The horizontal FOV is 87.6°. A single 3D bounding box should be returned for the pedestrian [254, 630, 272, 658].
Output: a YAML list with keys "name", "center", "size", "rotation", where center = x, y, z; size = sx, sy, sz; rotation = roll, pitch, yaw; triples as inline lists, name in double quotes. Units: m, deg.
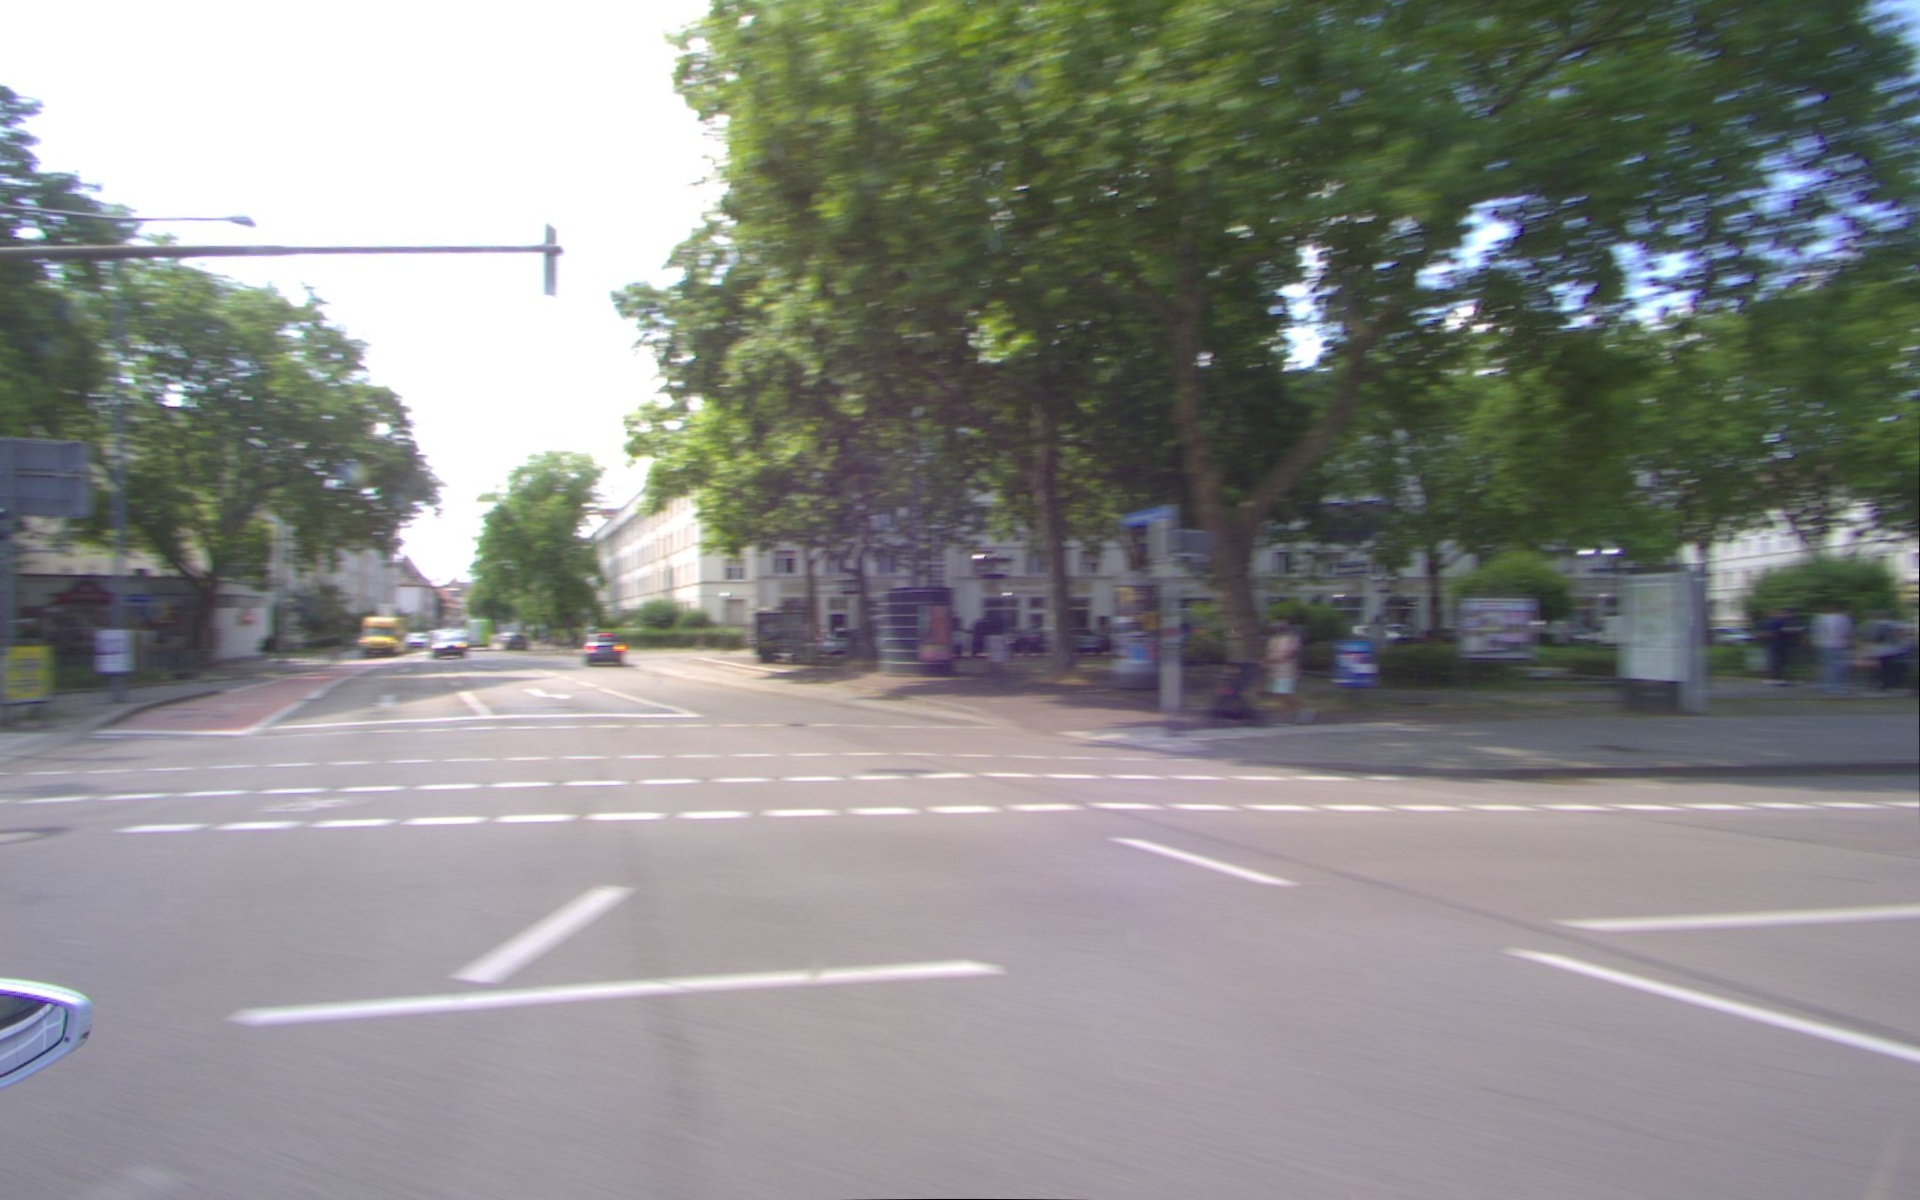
- name: "pedestrian"
  center: [-38.205, 2.422, 54.911]
  size: [0.660, 1.498, 0.574]
  rotation: [1, 0, -21]

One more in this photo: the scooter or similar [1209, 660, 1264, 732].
- name: "scooter or similar"
  center: [4.257, 1.465, 15.443]
  size: [0.695, 1.070, 0.491]
  rotation: [0, 0, -3]

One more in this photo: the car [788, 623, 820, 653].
- name: "car"
  center: [-9.792, 2.350, 63.048]
  size: [1.875, 1.819, 4.720]
  rotation: [0, -1, -7]

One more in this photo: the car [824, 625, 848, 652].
- name: "car"
  center: [-7.887, 2.429, 63.472]
  size: [1.442, 1.687, 3.066]
  rotation: [0, -1, -9]

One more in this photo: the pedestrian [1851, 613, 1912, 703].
- name: "pedestrian"
  center: [18.262, 1.134, 19.850]
  size: [0.709, 1.745, 0.689]
  rotation: [0, 0, -29]

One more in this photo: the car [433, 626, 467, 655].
- name: "car"
  center: [-31.395, 2.449, 61.591]
  size: [1.766, 1.683, 4.295]
  rotation: [0, 0, -28]

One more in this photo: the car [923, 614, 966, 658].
- name: "car"
  center: [-0.857, 1.854, 52.506]
  size: [1.961, 2.211, 4.257]
  rotation: [0, -1, -4]

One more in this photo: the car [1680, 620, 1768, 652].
- name: "car"
  center: [43.223, 1.997, 56.748]
  size: [1.819, 1.702, 4.000]
  rotation: [0, -1, -3]

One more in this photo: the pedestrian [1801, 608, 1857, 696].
- name: "pedestrian"
  center: [18.008, 1.054, 20.750]
  size: [0.660, 1.787, 0.689]
  rotation: [0, 0, -29]

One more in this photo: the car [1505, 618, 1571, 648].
- name: "car"
  center: [38.888, 2.184, 67.451]
  size: [1.961, 1.989, 4.000]
  rotation: [0, -1, -3]

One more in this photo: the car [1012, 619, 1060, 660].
- name: "car"
  center: [3.982, 2.058, 53.273]
  size: [1.961, 2.103, 4.000]
  rotation: [0, -1, -4]

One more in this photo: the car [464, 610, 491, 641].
- name: "car"
  center: [-42.398, 2.195, 88.040]
  size: [2.093, 2.676, 6.302]
  rotation: [0, 0, -26]

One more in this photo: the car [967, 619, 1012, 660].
- name: "car"
  center: [1.528, 2.072, 53.425]
  size: [1.961, 2.103, 4.000]
  rotation: [0, -1, -4]

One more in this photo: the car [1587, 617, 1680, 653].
- name: "car"
  center: [37.928, 1.940, 56.563]
  size: [2.063, 1.930, 4.491]
  rotation: [0, -1, -3]

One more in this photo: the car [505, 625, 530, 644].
- name: "car"
  center: [-36.703, 2.844, 82.988]
  size: [1.705, 1.575, 3.617]
  rotation: [0, -1, -28]

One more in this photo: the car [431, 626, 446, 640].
- name: "car"
  center: [-69.051, 4.349, 132.685]
  size: [1.639, 1.683, 3.735]
  rotation: [0, 0, -25]

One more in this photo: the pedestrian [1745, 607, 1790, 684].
- name: "pedestrian"
  center: [18.973, 1.063, 23.519]
  size: [0.688, 1.773, 0.603]
  rotation: [0, 0, -28]

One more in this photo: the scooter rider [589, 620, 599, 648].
- name: "scooter rider"
  center: [-24.010, 2.250, 65.772]
  size: [0.520, 1.836, 0.646]
  rotation: [0, 0, -29]

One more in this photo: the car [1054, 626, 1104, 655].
- name: "car"
  center: [6.320, 2.139, 53.579]
  size: [1.961, 1.440, 4.000]
  rotation: [0, -1, -4]

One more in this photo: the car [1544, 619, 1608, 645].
- name: "car"
  center: [41.488, 2.124, 67.529]
  size: [1.703, 1.718, 4.000]
  rotation: [0, -1, -3]

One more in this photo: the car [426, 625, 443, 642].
- name: "car"
  center: [-65.522, 4.135, 124.889]
  size: [1.632, 1.957, 3.735]
  rotation: [0, 0, -25]

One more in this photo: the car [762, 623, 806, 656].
- name: "car"
  center: [-9.109, 2.029, 52.232]
  size: [1.995, 1.621, 4.538]
  rotation: [0, -1, -7]

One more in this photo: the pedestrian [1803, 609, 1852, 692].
- name: "pedestrian"
  center: [18.989, 1.085, 21.920]
  size: [0.688, 1.773, 0.603]
  rotation: [0, 0, -29]

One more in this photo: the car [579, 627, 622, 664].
- name: "car"
  center: [-16.794, 2.104, 46.741]
  size: [1.670, 1.558, 3.456]
  rotation: [0, 0, -23]

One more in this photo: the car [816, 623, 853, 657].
- name: "car"
  center: [-6.659, 2.094, 53.295]
  size: [1.875, 1.712, 4.538]
  rotation: [0, -1, -7]

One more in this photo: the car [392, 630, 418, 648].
- name: "car"
  center: [-49.173, 3.429, 88.705]
  size: [1.823, 1.582, 3.984]
  rotation: [0, -1, -27]

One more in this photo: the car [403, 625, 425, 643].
- name: "car"
  center: [-55.297, 3.452, 101.495]
  size: [1.707, 1.683, 3.735]
  rotation: [0, 0, -25]

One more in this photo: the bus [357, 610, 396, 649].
- name: "bus"
  center: [-42.770, 2.134, 73.491]
  size: [2.368, 2.744, 6.337]
  rotation: [0, -1, -30]

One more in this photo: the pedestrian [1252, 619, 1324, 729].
- name: "pedestrian"
  center: [5.047, 1.126, 15.453]
  size: [0.905, 1.667, 0.570]
  rotation: [0, 0, -3]

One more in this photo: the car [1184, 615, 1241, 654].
- name: "car"
  center: [13.879, 1.864, 55.293]
  size: [1.961, 2.040, 4.000]
  rotation: [0, -1, -3]
